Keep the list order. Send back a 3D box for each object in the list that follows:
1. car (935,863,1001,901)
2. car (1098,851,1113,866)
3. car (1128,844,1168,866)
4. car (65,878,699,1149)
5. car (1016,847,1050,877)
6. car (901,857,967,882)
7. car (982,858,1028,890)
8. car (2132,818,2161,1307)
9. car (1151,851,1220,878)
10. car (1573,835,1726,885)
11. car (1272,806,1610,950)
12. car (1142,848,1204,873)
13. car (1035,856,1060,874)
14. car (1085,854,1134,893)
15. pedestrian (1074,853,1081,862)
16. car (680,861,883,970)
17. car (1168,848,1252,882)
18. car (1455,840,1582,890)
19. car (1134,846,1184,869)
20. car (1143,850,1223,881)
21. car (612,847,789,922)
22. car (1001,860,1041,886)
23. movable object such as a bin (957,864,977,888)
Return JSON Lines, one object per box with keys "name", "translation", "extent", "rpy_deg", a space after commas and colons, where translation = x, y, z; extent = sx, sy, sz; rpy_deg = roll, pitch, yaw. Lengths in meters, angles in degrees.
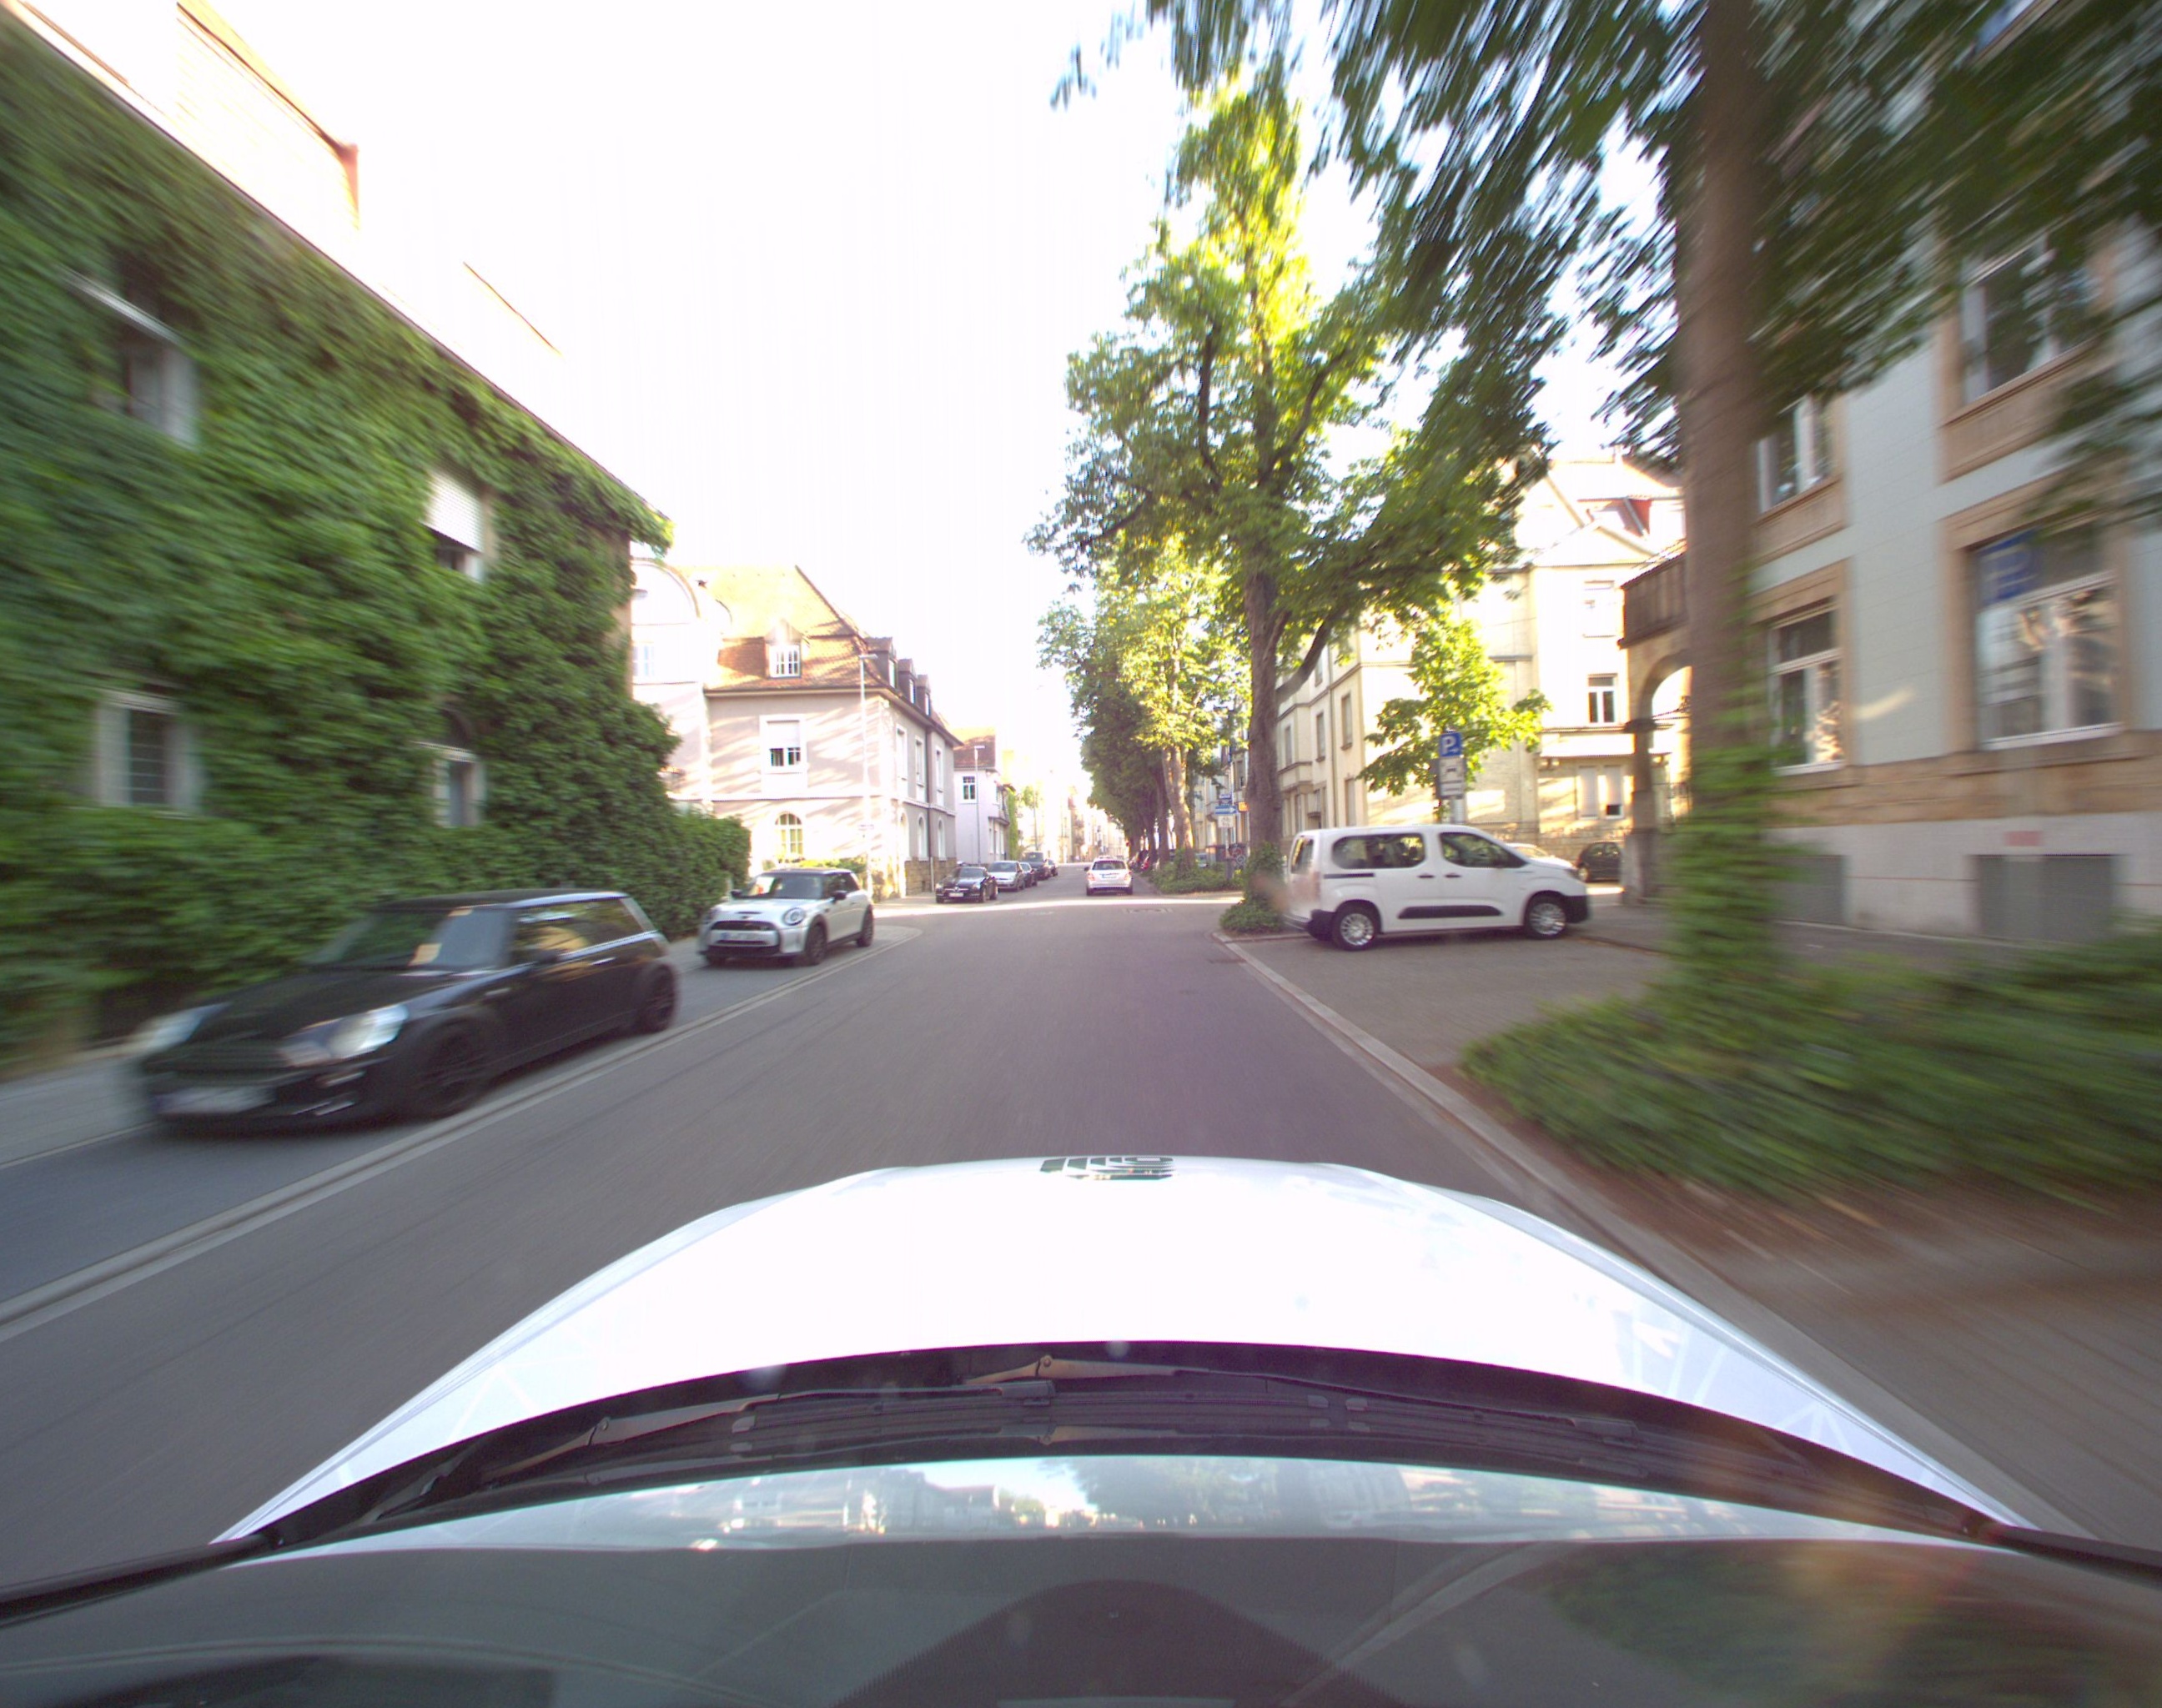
{"name": "car", "translation": [-4.202, 1.026, 30.890], "extent": [1.646, 1.324, 4.050], "rpy_deg": [-1, 0, 4]}
{"name": "car", "translation": [2.681, 0.461, 88.313], "extent": [1.617, 1.570, 3.682], "rpy_deg": [-2, 0, 3]}
{"name": "car", "translation": [7.713, 0.140, 93.854], "extent": [4.375, 2.364, 1.999], "rpy_deg": [-2, 0, -1]}
{"name": "car", "translation": [-4.787, 0.949, 6.411], "extent": [1.680, 1.379, 3.723], "rpy_deg": [-1, 0, 2]}
{"name": "car", "translation": [-3.242, 0.545, 56.197], "extent": [1.975, 1.947, 4.852], "rpy_deg": [-1, 0, 1]}
{"name": "car", "translation": [-9.189, 0.957, 51.179], "extent": [3.853, 1.443, 1.634], "rpy_deg": [-1, 0, -3]}
{"name": "car", "translation": [-3.627, 0.922, 39.403], "extent": [1.647, 1.445, 3.962], "rpy_deg": [-1, 0, 2]}
{"name": "car", "translation": [5.011, 0.519, 1.535], "extent": [3.734, 1.462, 1.735], "rpy_deg": [-3, 0, 1]}
{"name": "car", "translation": [6.050, 0.600, 47.537], "extent": [3.779, 1.438, 1.818], "rpy_deg": [-2, 0, 1]}
{"name": "car", "translation": [17.885, 0.147, 25.928], "extent": [1.837, 1.409, 4.532], "rpy_deg": [-2, 1, 2]}
{"name": "car", "translation": [5.368, 0.345, 12.624], "extent": [4.299, 1.807, 2.001], "rpy_deg": [-3, 0, 1]}
{"name": "car", "translation": [6.414, 0.464, 57.159], "extent": [4.171, 1.475, 1.853], "rpy_deg": [-4, -1, 4]}
{"name": "car", "translation": [-2.743, 0.882, 67.328], "extent": [1.688, 1.447, 4.360], "rpy_deg": [-1, 0, 2]}
{"name": "car", "translation": [1.144, 0.734, 31.927], "extent": [1.777, 1.437, 3.853], "rpy_deg": [-1, -1, 2]}
{"name": "pedestrian", "translation": [-0.642, 0.651, 157.159], "extent": [1.215, 1.721, 1.505], "rpy_deg": [-1, 0, 5]}
{"name": "car", "translation": [-4.688, 0.885, 13.396], "extent": [1.697, 1.460, 3.921], "rpy_deg": [-1, 0, 3]}
{"name": "car", "translation": [6.331, 0.520, 40.208], "extent": [3.784, 1.438, 1.747], "rpy_deg": [-3, 0, -3]}
{"name": "car", "translation": [13.843, 0.300, 26.106], "extent": [1.777, 1.409, 4.471], "rpy_deg": [-2, 1, 2]}
{"name": "car", "translation": [7.018, 0.309, 73.753], "extent": [4.207, 1.896, 1.905], "rpy_deg": [-3, 0, -1]}
{"name": "car", "translation": [5.593, 0.624, 45.081], "extent": [4.138, 1.577, 1.710], "rpy_deg": [-2, 0, -4]}
{"name": "car", "translation": [-11.454, 0.929, 24.774], "extent": [4.388, 2.014, 1.999], "rpy_deg": [-2, -3, -1]}
{"name": "car", "translation": [-3.260, 1.024, 44.779], "extent": [1.524, 1.319, 4.231], "rpy_deg": [-1, 0, 4]}
{"name": "movable object such as a bin", "translation": [-6.261, 1.199, 44.927], "extent": [0.719, 1.283, 2.097], "rpy_deg": [-2, 0, 2]}
